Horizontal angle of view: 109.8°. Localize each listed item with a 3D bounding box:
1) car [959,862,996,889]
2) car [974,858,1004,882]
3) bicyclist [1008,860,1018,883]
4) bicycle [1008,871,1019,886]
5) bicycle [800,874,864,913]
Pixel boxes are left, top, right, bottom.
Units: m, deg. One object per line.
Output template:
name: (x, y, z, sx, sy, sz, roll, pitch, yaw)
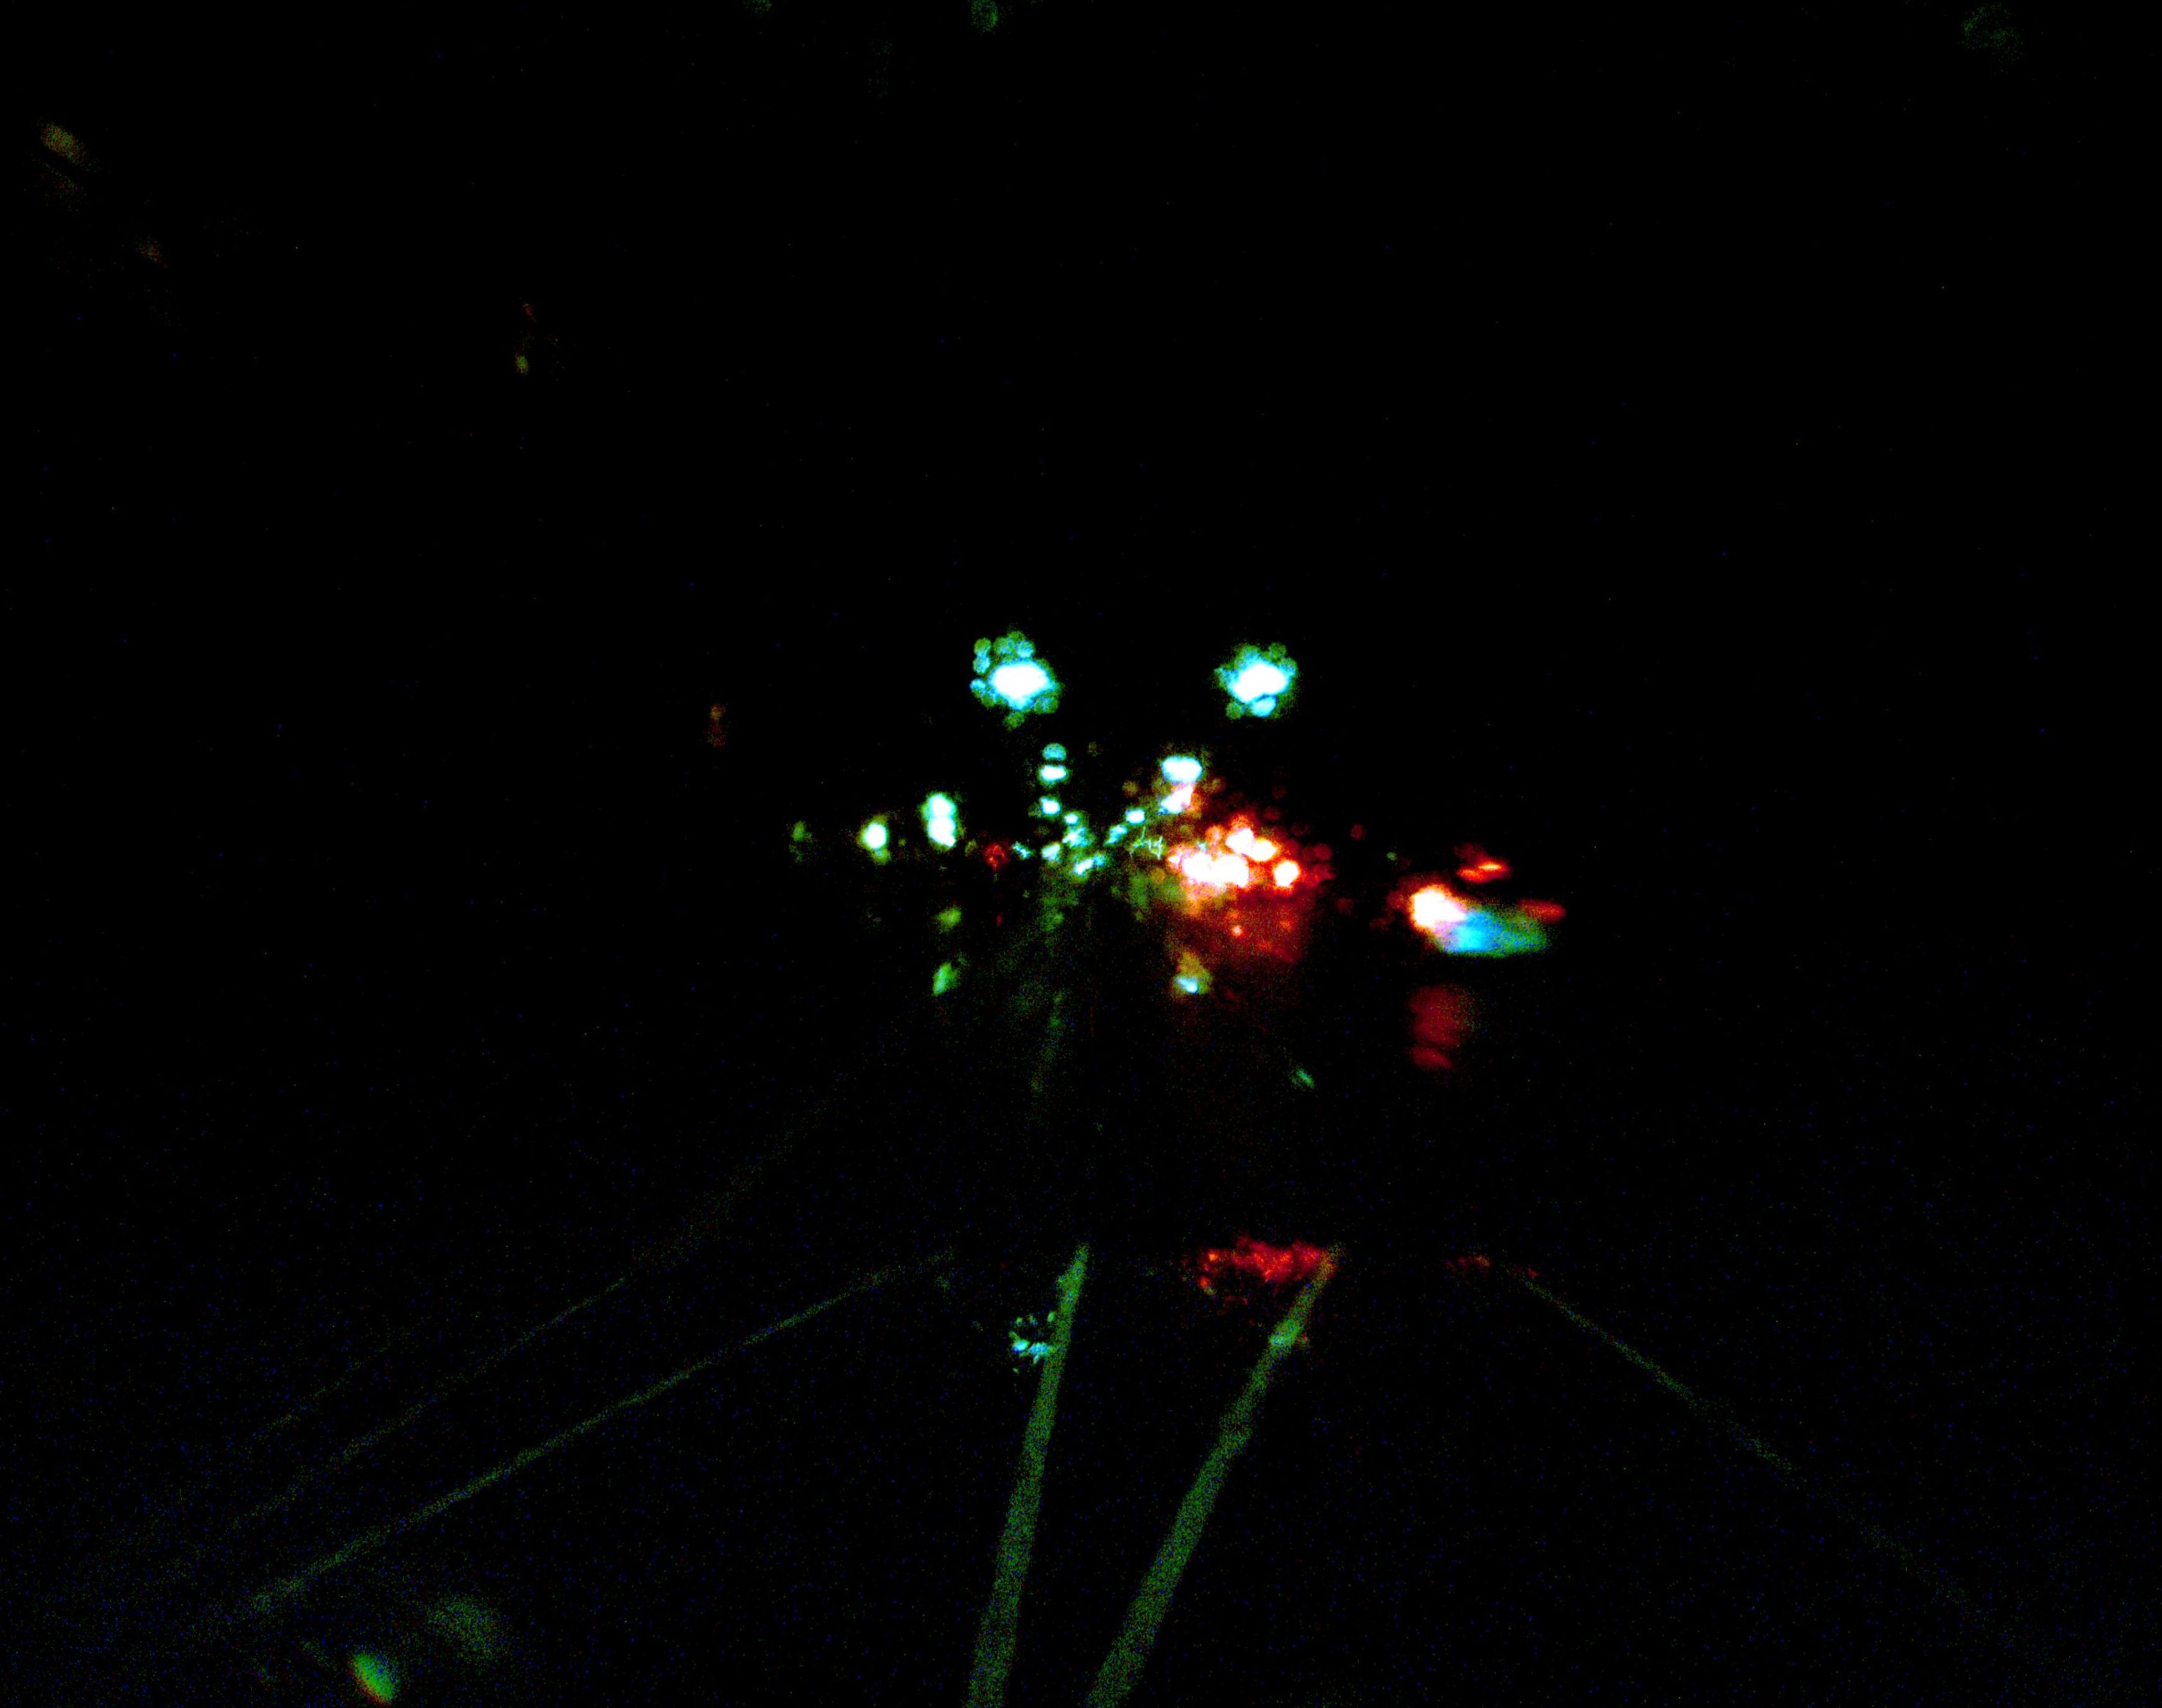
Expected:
car: (-6.236, 1.290, 46.324, 1.649, 1.433, 4.055, 3, 0, 0)
car: (-6.221, 1.072, 51.721, 1.652, 1.516, 3.579, 3, 0, -2)
bicyclist: (-4.585, 1.186, 51.241, 0.572, 1.539, 0.815, -3, 1, -7)
bicycle: (-4.565, 1.638, 51.250, 0.572, 0.964, 1.779, -3, 1, -7)
bicycle: (-7.783, 1.226, 23.801, 1.818, 1.157, 0.492, 2, 1, -1)
